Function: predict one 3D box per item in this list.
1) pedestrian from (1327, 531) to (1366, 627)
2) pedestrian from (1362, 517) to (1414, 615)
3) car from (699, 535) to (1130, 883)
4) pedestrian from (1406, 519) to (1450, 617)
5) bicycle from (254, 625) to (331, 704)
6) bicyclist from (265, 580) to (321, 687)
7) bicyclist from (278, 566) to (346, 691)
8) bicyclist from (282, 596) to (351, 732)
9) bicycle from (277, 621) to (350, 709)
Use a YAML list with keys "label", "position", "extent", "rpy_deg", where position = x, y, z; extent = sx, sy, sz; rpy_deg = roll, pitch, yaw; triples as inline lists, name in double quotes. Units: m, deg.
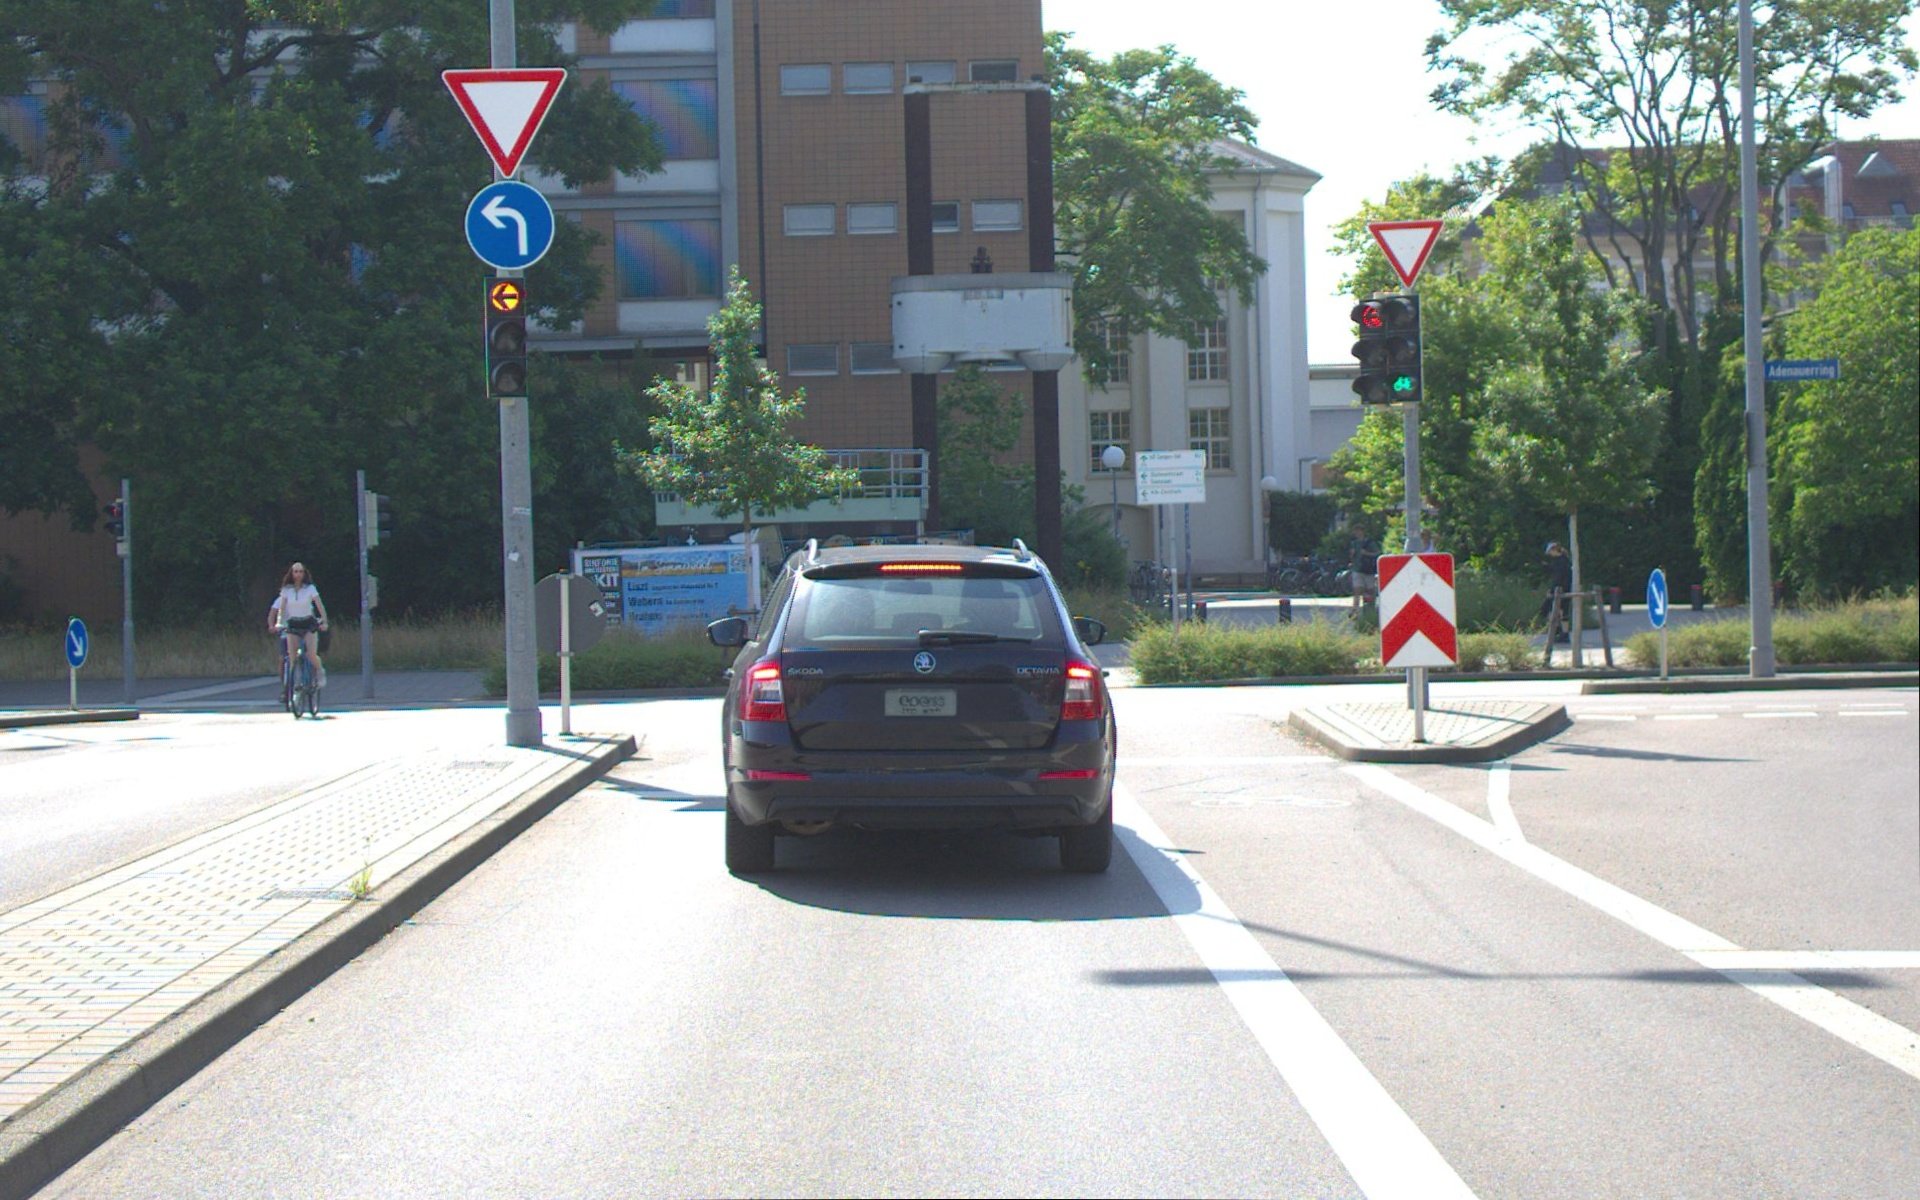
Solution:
- label: "pedestrian"
  position: [7.645, -0.416, 67.915]
  extent: [0.597, 1.868, 0.638]
  rpy_deg: [1, 0, 23]
- label: "pedestrian"
  position: [8.424, -0.667, 67.700]
  extent: [0.794, 1.868, 0.638]
  rpy_deg: [-3, 1, 21]
- label: "car"
  position: [-0.196, 0.424, 16.157]
  extent: [1.780, 1.438, 3.818]
  rpy_deg: [0, 1, 0]
- label: "pedestrian"
  position: [9.077, -0.625, 66.680]
  extent: [0.637, 1.868, 0.796]
  rpy_deg: [-3, 1, -1]
- label: "bicycle"
  position: [-9.063, 0.866, 46.740]
  extent: [0.704, 0.974, 2.031]
  rpy_deg: [-2, 1, -3]
- label: "bicyclist"
  position: [-9.058, 0.455, 46.735]
  extent: [0.539, 1.412, 1.030]
  rpy_deg: [-3, 0, -2]
- label: "bicyclist"
  position: [-7.767, 0.331, 41.210]
  extent: [0.618, 1.438, 0.921]
  rpy_deg: [-4, 1, -5]
- label: "bicyclist"
  position: [-7.768, 0.762, 41.539]
  extent: [0.618, 1.576, 1.014]
  rpy_deg: [-4, 1, -5]
- label: "bicycle"
  position: [-7.735, 0.767, 41.187]
  extent: [0.618, 0.957, 1.968]
  rpy_deg: [-4, 1, -5]
